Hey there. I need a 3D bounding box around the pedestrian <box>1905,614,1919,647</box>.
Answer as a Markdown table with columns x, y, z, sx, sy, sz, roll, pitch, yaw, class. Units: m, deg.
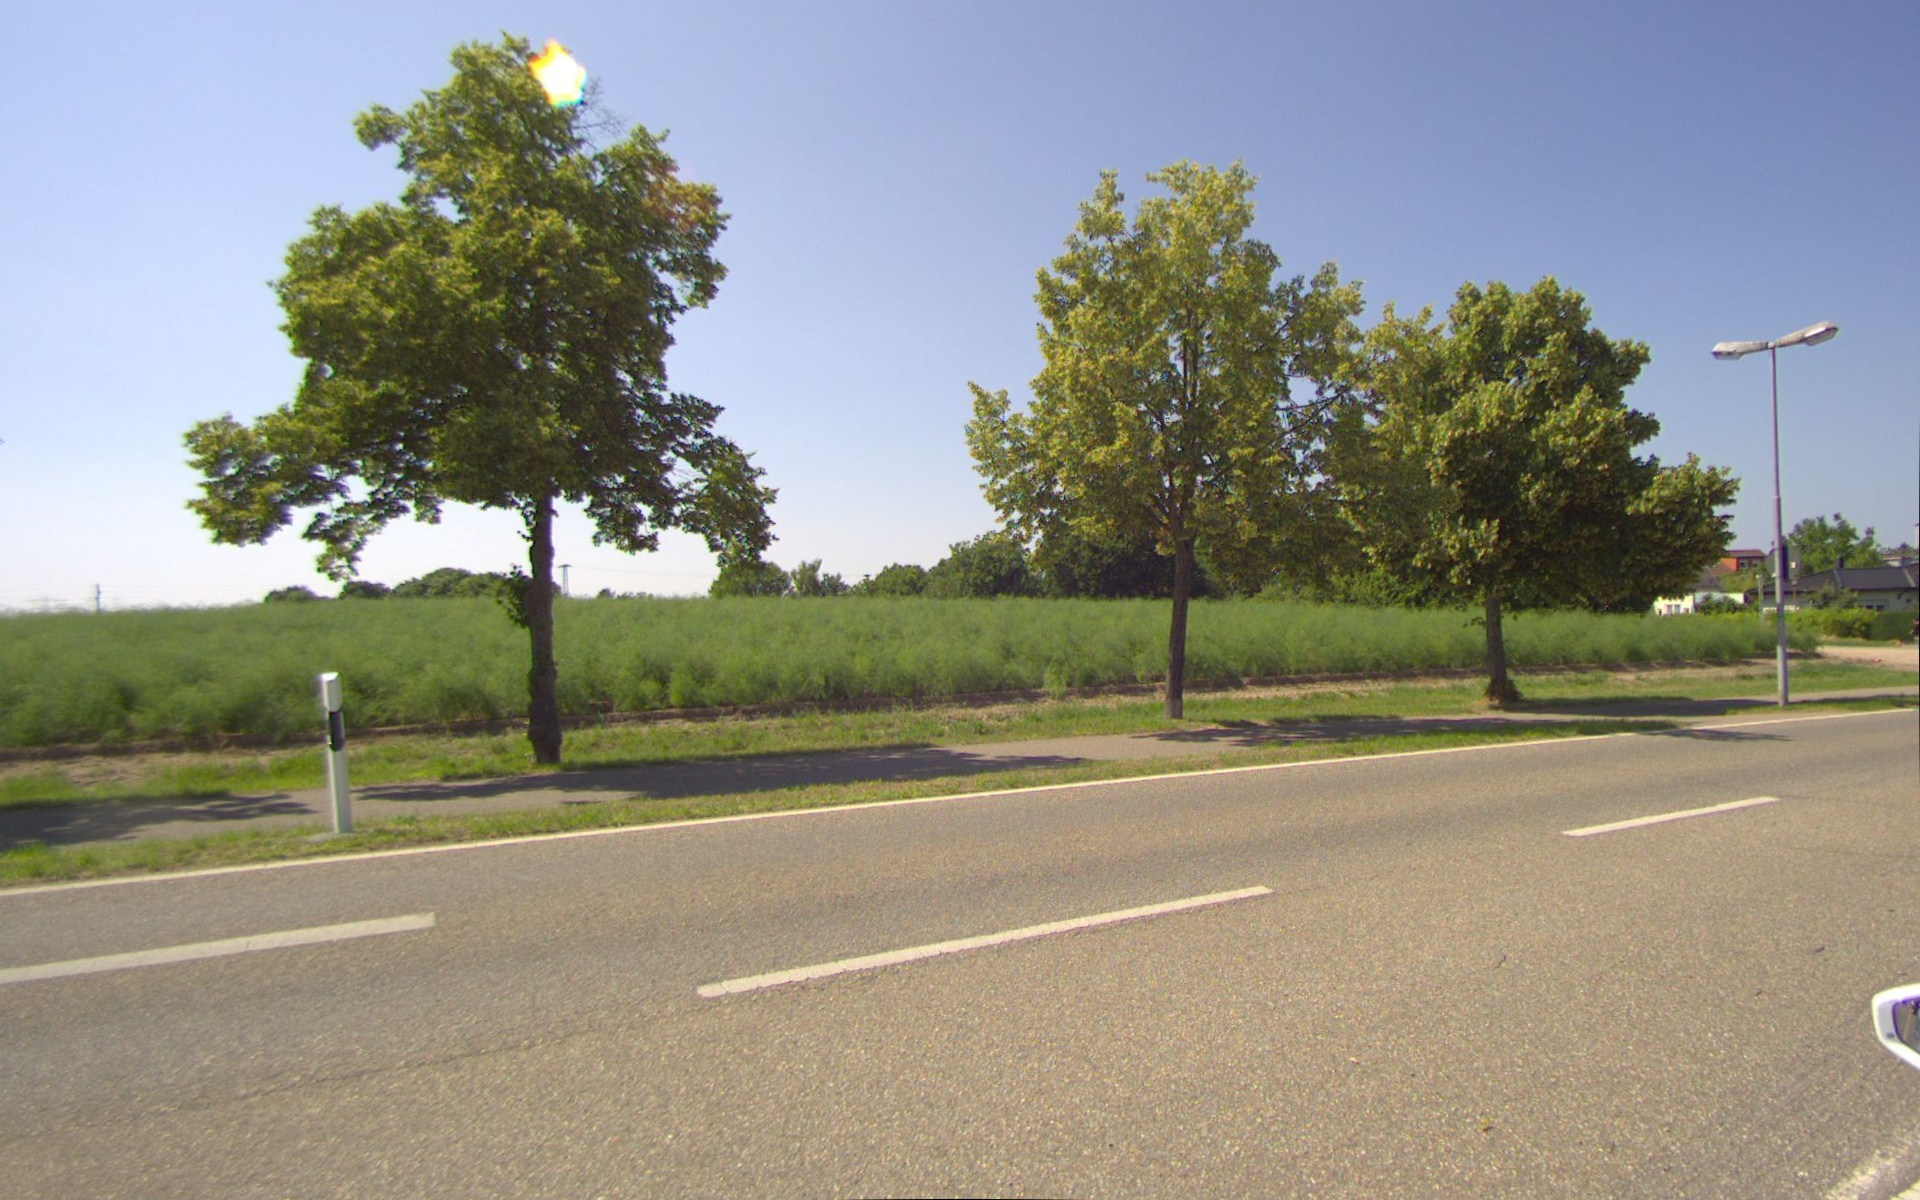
| x | y | z | sx | sy | sz | roll | pitch | yaw | class |
| --- | --- | --- | --- | --- | --- | --- | --- | --- | --- |
| 50.802 | 1.633 | 53.462 | 0.546 | 1.739 | 0.668 | 0 | 0 | -40 | pedestrian |
